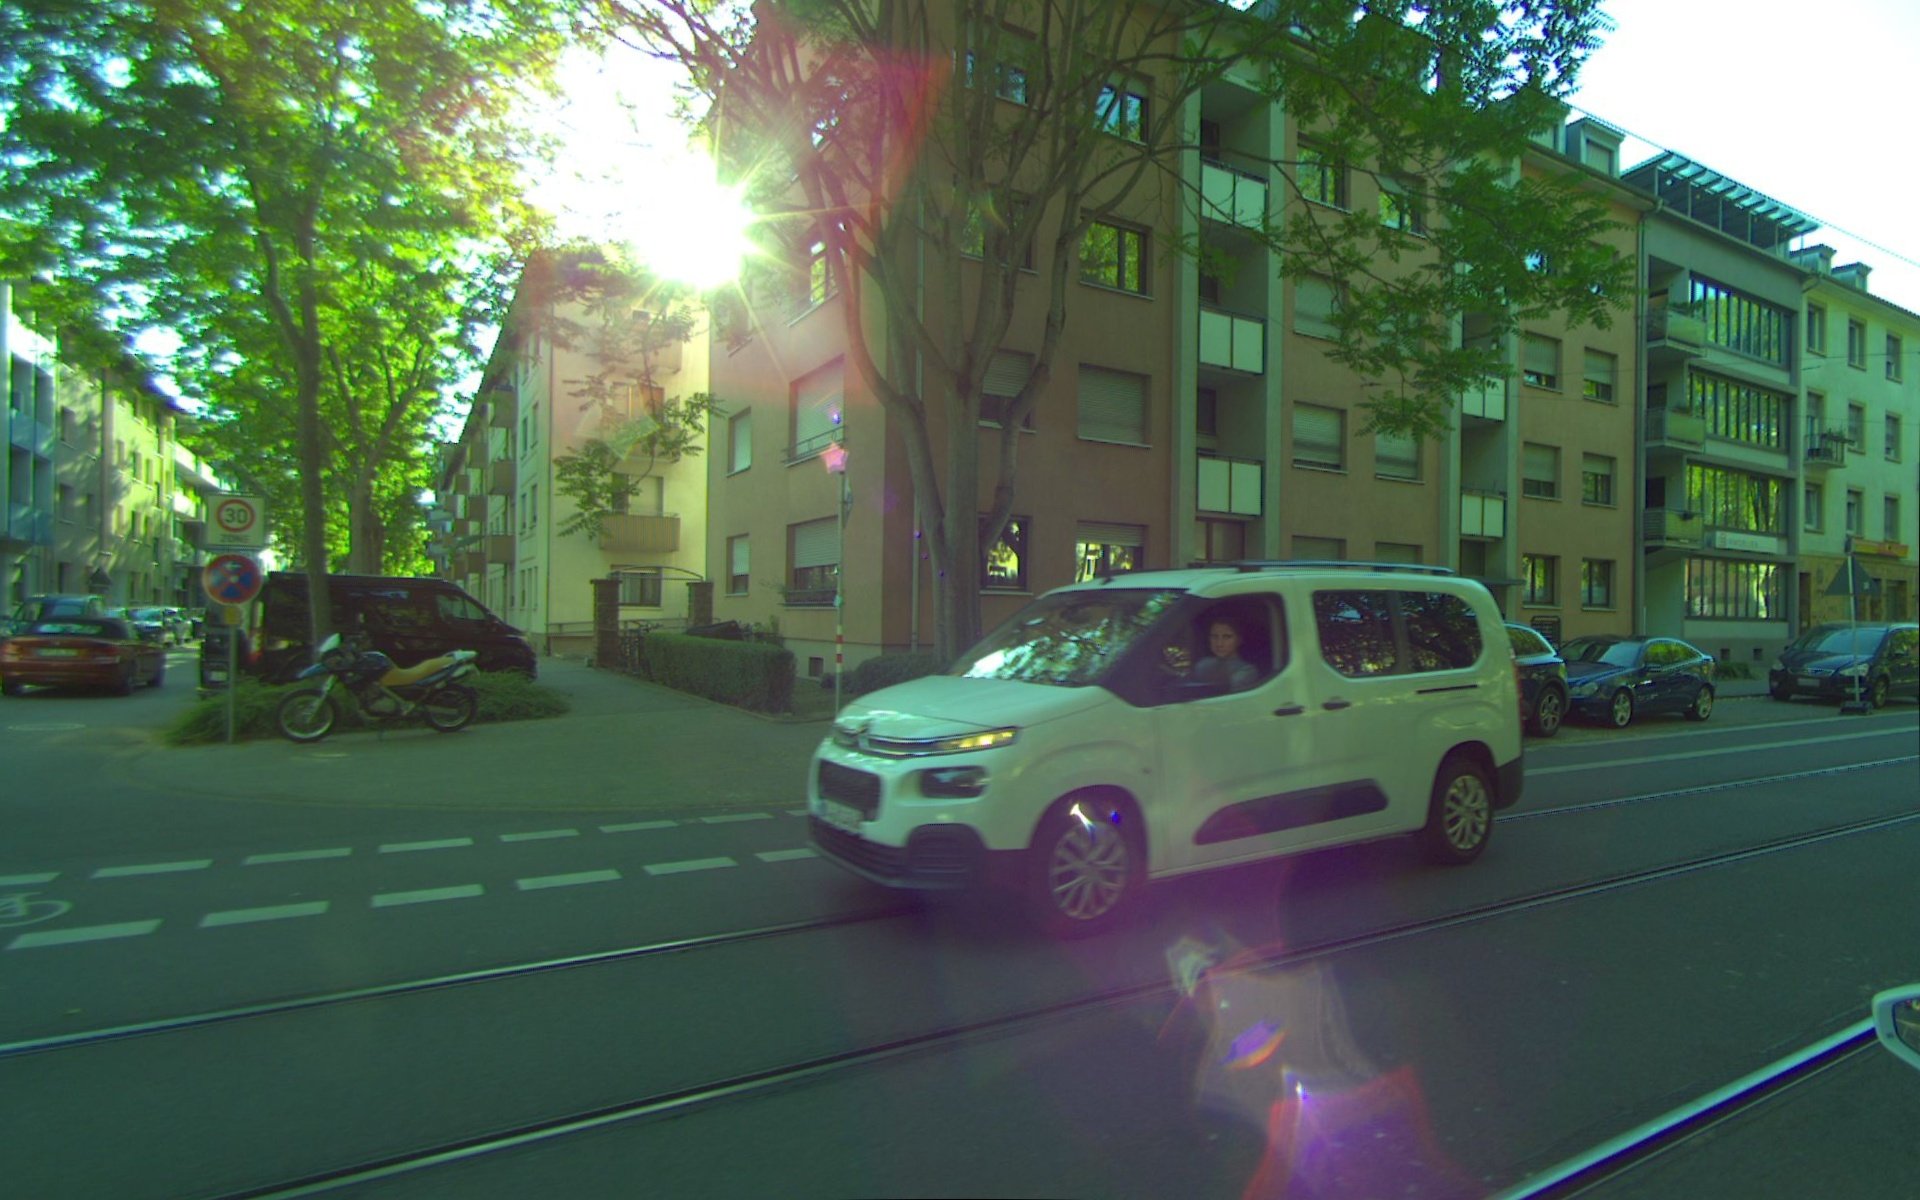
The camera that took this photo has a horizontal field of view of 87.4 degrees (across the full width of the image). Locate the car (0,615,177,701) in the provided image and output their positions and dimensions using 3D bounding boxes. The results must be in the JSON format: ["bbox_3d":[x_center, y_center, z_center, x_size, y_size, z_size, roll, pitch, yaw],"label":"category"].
[{"bbox_3d":[-16.346,1.027,18.957,1.777,1.407,4.204,3,-2,-29],"label":"car"}]

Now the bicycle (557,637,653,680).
[{"bbox_3d":[-7.614,1.237,21.552,1.848,0.883,0.637,1,-1,-31],"label":"bicycle"}]

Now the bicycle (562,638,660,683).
[{"bbox_3d":[-7.282,1.250,20.989,1.848,0.883,0.605,1,-1,-31],"label":"bicycle"}]

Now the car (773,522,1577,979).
[{"bbox_3d":[1.489,0.664,6.144,4.838,1.856,1.882,1,-1,-31],"label":"car"}]

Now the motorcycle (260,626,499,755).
[{"bbox_3d":[-6.745,0.998,11.782,2.322,1.298,0.897,-1,0,-33],"label":"motorcycle"}]

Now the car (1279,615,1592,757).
[{"bbox_3d":[6.787,1.101,14.202,4.536,1.632,1.771,1,2,-31],"label":"car"}]

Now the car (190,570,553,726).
[{"bbox_3d":[-9.330,0.699,16.386,1.965,2.151,4.712,1,-1,32],"label":"car"}]

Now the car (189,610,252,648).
[{"bbox_3d":[-35.767,1.407,48.700,1.893,1.746,4.289,1,-1,-29],"label":"car"}]

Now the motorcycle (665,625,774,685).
[{"bbox_3d":[-4.852,1.096,20.312,2.042,1.144,0.691,1,-1,-31],"label":"motorcycle"}]

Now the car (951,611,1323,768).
[{"bbox_3d":[2.106,0.947,11.749,4.040,1.498,1.798,2,1,-29],"label":"car"}]

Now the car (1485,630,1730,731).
[{"bbox_3d":[10.921,1.268,16.878,4.333,1.419,1.729,1,1,-31],"label":"car"}]

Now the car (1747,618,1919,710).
[{"bbox_3d":[19.298,1.304,21.723,5.013,1.709,1.942,1,1,-31],"label":"car"}]

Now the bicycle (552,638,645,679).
[{"bbox_3d":[-7.952,1.284,22.136,1.848,0.862,0.637,1,-1,-31],"label":"bicycle"}]

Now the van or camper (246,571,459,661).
[{"bbox_3d":[-19.518,0.535,32.604,2.217,2.664,5.540,0,-1,29],"label":"van or camper"}]

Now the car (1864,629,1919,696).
[{"bbox_3d":[24.123,1.531,24.722,3.818,1.508,1.701,1,2,-31],"label":"car"}]

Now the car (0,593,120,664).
[{"bbox_3d":[-24.481,0.732,27.147,1.893,1.746,4.289,3,-2,-29],"label":"car"}]

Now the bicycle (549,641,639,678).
[{"bbox_3d":[-8.248,1.328,22.652,1.848,0.784,0.528,1,-1,-31],"label":"bicycle"}]
